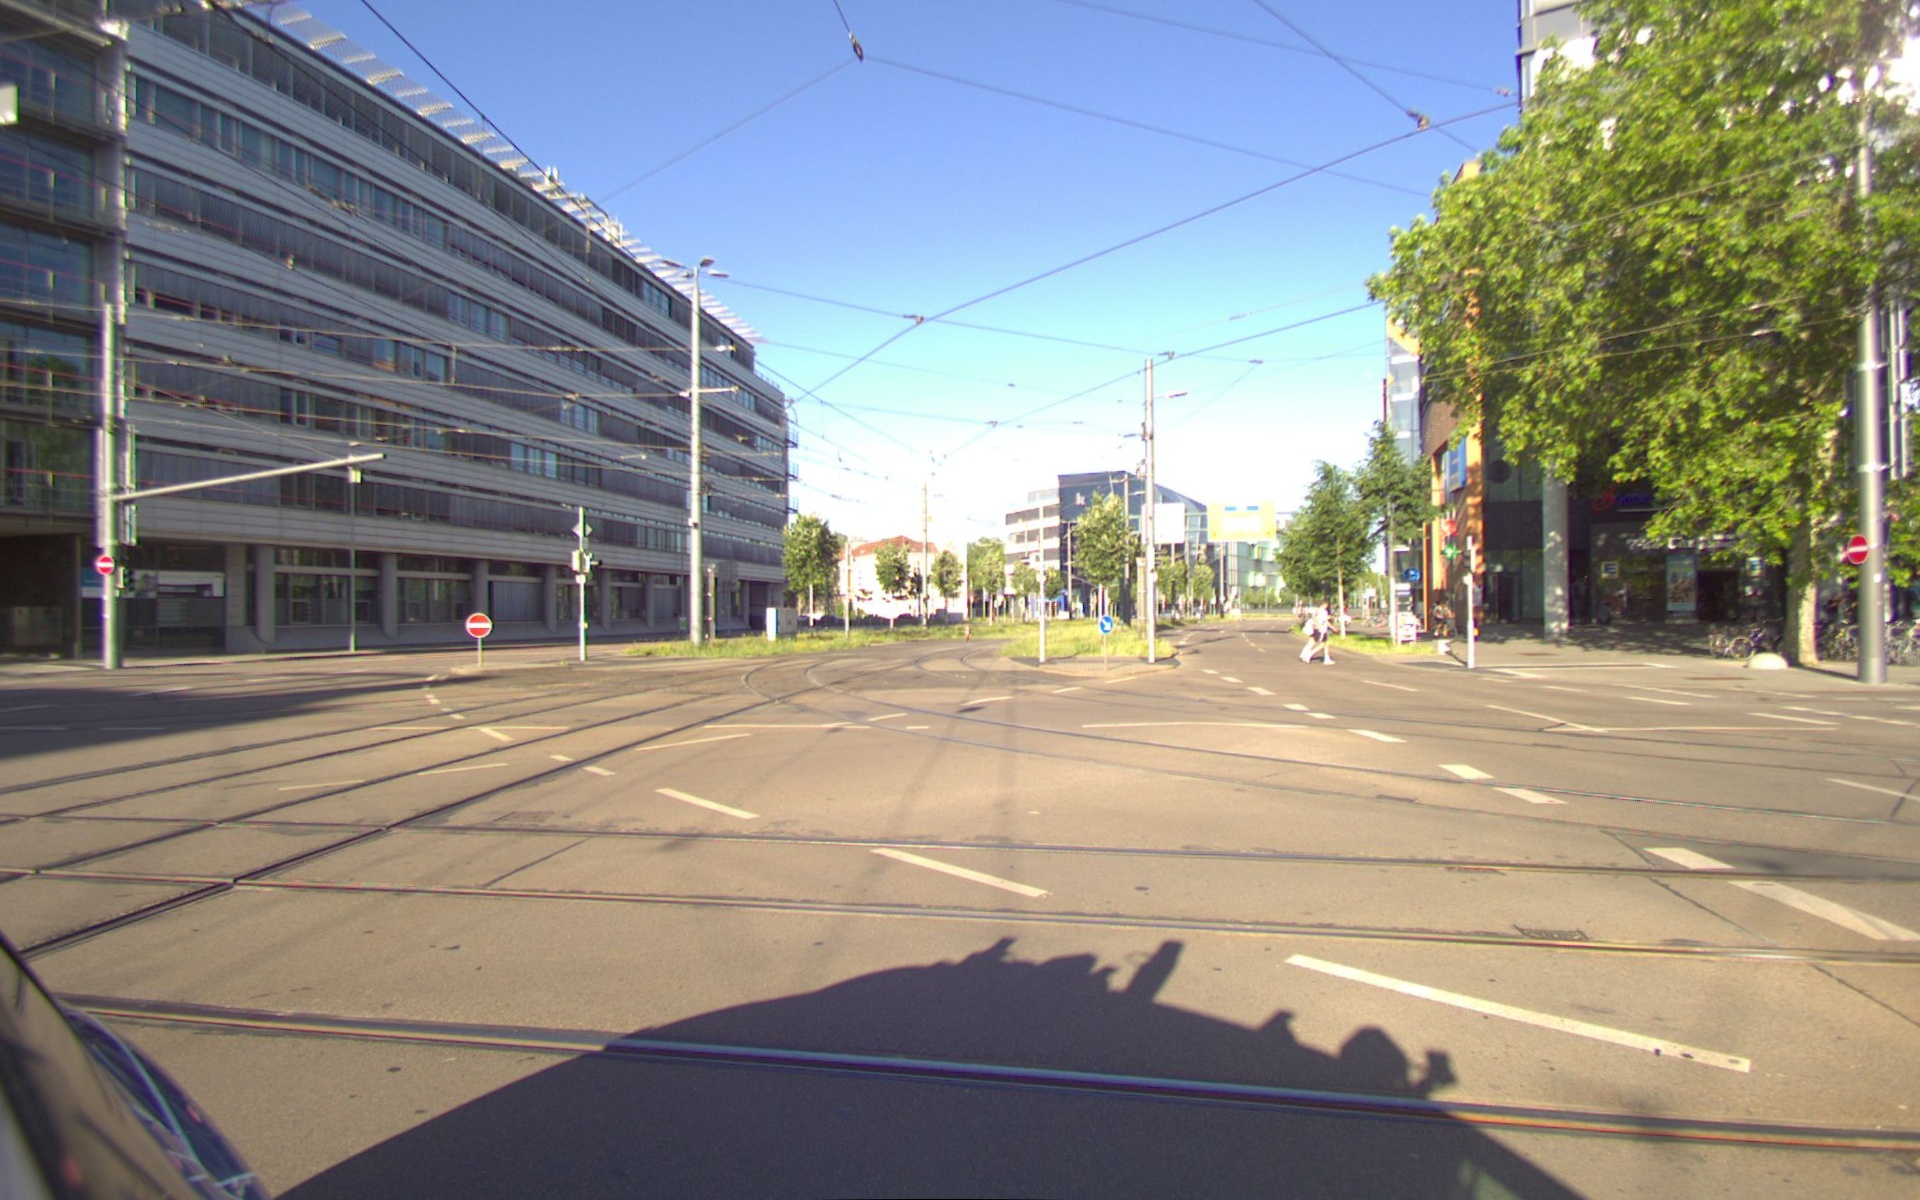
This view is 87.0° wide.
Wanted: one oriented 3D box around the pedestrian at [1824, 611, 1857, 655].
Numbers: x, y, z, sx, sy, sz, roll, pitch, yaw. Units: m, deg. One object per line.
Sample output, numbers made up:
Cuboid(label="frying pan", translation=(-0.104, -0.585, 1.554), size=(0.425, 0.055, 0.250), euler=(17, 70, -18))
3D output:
Cuboid(label="pedestrian", translation=(33.906, 1.274, 38.971), size=(0.686, 1.665, 0.708), euler=(0, -1, -25))

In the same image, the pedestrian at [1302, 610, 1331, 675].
Cuboid(label="pedestrian", translation=(10.450, 1.244, 29.698), size=(0.727, 1.884, 0.696), euler=(-1, -1, 14))

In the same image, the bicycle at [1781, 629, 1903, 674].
Cuboid(label="bicycle", translation=(23.032, 1.331, 26.467), size=(2.344, 1.137, 0.596), euler=(-1, -2, 15))

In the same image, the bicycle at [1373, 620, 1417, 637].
Cuboid(label="bicycle", translation=(29.279, 1.943, 68.110), size=(2.677, 1.112, 0.888), euler=(-1, -2, 26))

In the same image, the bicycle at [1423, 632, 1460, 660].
Cuboid(label="bicycle", translation=(19.916, 1.875, 41.928), size=(0.888, 1.112, 2.678), euler=(-1, -2, 15))

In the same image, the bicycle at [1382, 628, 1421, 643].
Cuboid(label="bicycle", translation=(33.195, 2.675, 76.080), size=(2.677, 1.112, 0.888), euler=(-1, -2, 26))

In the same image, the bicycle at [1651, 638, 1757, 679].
Cuboid(label="bicycle", translation=(21.331, 1.665, 29.067), size=(2.345, 1.137, 0.596), euler=(-1, -2, 16))

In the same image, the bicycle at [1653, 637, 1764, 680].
Cuboid(label="bicycle", translation=(20.478, 1.591, 27.725), size=(2.345, 1.137, 0.596), euler=(-1, -2, 16))

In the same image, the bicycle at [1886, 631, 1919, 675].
Cuboid(label="bicycle", translation=(25.483, 1.367, 26.092), size=(2.344, 1.137, 0.596), euler=(-1, -2, 15))

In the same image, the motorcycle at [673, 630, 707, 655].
Cuboid(label="motorcycle", translation=(-13.983, 2.193, 52.477), size=(0.813, 1.230, 2.247), euler=(0, -1, 12))

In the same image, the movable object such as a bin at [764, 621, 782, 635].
Cuboid(label="movable object such as a bin", translation=(-17.078, 2.561, 92.472), size=(1.163, 1.311, 1.322), euler=(-1, -1, 15))

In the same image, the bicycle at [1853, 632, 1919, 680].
Cuboid(label="bicycle", translation=(22.885, 1.332, 24.111), size=(2.344, 1.137, 0.596), euler=(-1, -2, 15))

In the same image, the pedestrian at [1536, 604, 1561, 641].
Cuboid(label="pedestrian", translation=(27.495, 1.055, 47.300), size=(0.688, 1.718, 0.735), euler=(0, -1, -10))

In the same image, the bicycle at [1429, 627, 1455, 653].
Cuboid(label="bicycle", translation=(22.269, 1.843, 46.777), size=(0.687, 1.145, 1.842), euler=(-1, -1, 14))

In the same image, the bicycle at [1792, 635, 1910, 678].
Cuboid(label="bicycle", translation=(24.139, 1.510, 27.455), size=(2.344, 1.137, 0.596), euler=(-1, -2, 15))

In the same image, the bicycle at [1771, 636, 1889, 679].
Cuboid(label="bicycle", translation=(23.256, 1.531, 27.088), size=(2.344, 1.137, 0.596), euler=(-1, -2, 15))

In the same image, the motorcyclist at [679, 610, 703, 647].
Cuboid(label="motorcyclist", translation=(-13.969, 1.474, 52.546), size=(0.813, 1.871, 1.108), euler=(0, -1, 12))

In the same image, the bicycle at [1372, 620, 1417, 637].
Cuboid(label="bicycle", translation=(28.847, 1.915, 67.167), size=(2.677, 1.112, 0.888), euler=(-1, -2, 26))

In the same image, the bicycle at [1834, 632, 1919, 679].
Cuboid(label="bicycle", translation=(23.371, 1.371, 25.214), size=(2.344, 1.137, 0.596), euler=(-1, -2, 15))

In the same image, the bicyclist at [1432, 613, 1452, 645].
Cuboid(label="bicyclist", translation=(22.263, 1.340, 46.783), size=(0.687, 1.472, 0.750), euler=(-1, -1, 15))

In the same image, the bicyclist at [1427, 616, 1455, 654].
Cuboid(label="bicyclist", translation=(19.914, 1.456, 41.937), size=(0.888, 1.560, 0.934), euler=(-1, -2, 16))

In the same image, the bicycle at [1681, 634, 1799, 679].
Cuboid(label="bicycle", translation=(20.213, 1.466, 26.273), size=(2.345, 1.137, 0.596), euler=(-1, -2, 16))

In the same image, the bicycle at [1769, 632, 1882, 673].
Cuboid(label="bicycle", translation=(24.385, 1.467, 28.553), size=(2.344, 1.137, 0.596), euler=(-1, -2, 15))

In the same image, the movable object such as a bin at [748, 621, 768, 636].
Cuboid(label="movable object such as a bin", translation=(-17.540, 2.466, 87.979), size=(1.316, 1.311, 1.168), euler=(-1, -1, 15))

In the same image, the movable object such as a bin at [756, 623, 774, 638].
Cuboid(label="movable object such as a bin", translation=(-17.572, 2.714, 91.218), size=(1.163, 1.311, 1.322), euler=(-1, -1, 15))

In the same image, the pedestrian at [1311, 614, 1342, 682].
Cuboid(label="pedestrian", translation=(10.388, 1.349, 28.707), size=(0.726, 1.884, 0.670), euler=(-1, -1, 12))

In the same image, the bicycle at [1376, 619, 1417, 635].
Cuboid(label="bicycle", translation=(31.711, 1.962, 73.552), size=(2.677, 1.112, 0.888), euler=(-1, -2, 26))

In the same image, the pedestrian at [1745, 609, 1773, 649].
Cuboid(label="pedestrian", translation=(33.555, 1.214, 42.530), size=(0.693, 1.665, 0.701), euler=(-1, -1, 19))
